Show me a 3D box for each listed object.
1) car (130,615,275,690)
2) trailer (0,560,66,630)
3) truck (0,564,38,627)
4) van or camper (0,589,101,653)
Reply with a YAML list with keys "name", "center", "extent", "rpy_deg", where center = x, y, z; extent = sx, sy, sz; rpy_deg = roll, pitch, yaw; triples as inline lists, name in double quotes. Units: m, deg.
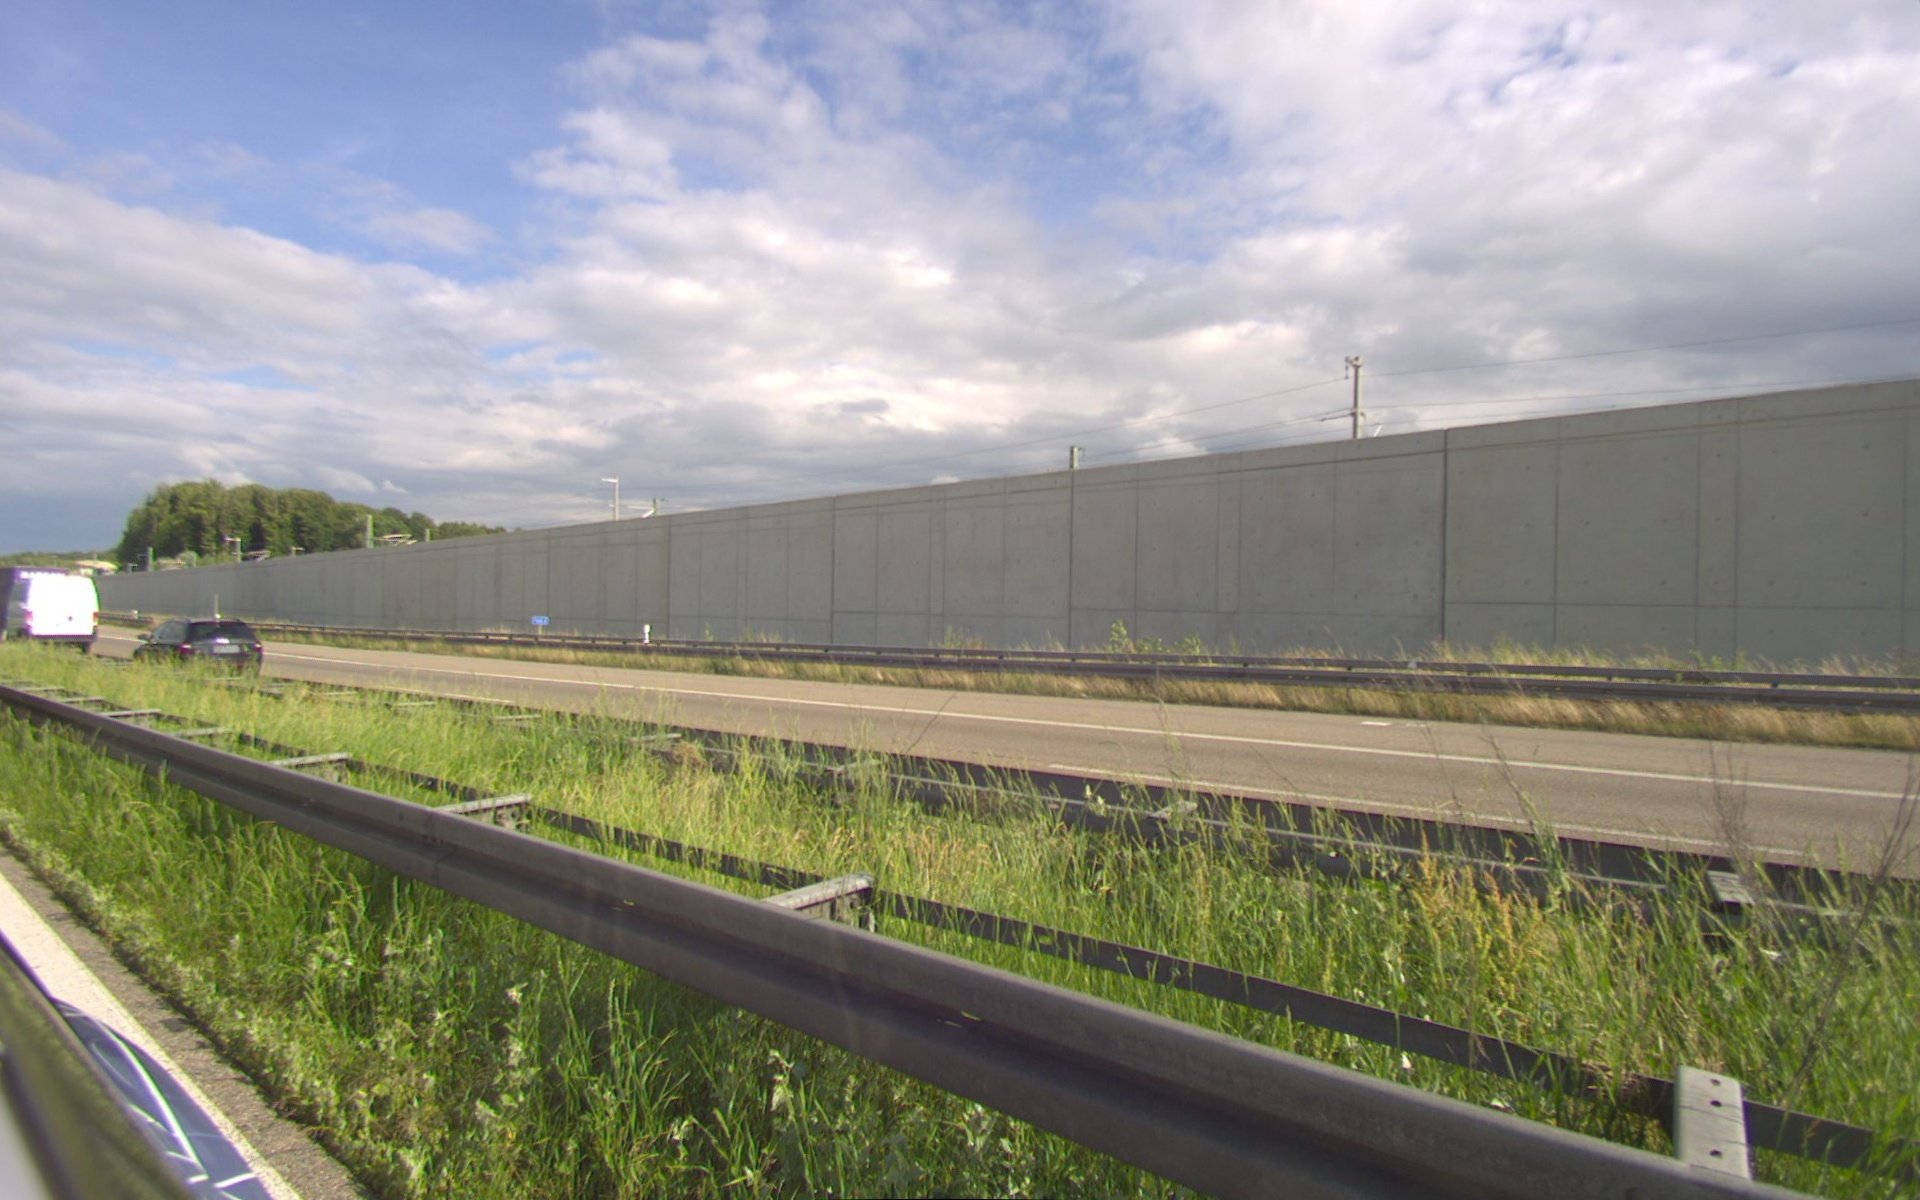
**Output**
- name: "car"
  center: [-17.705, 1.144, 23.580]
  extent: [4.549, 1.519, 1.824]
  rpy_deg: [-1, 0, 42]
- name: "trailer"
  center: [-60.270, -0.270, 64.748]
  extent: [12.384, 4.111, 2.627]
  rpy_deg: [-1, 0, 39]
- name: "truck"
  center: [-64.879, -0.258, 68.562]
  extent: [6.996, 4.129, 2.611]
  rpy_deg: [-1, 0, 40]
- name: "van or camper"
  center: [-34.531, 0.747, 37.961]
  extent: [6.247, 2.222, 2.147]
  rpy_deg: [-1, 0, 37]
